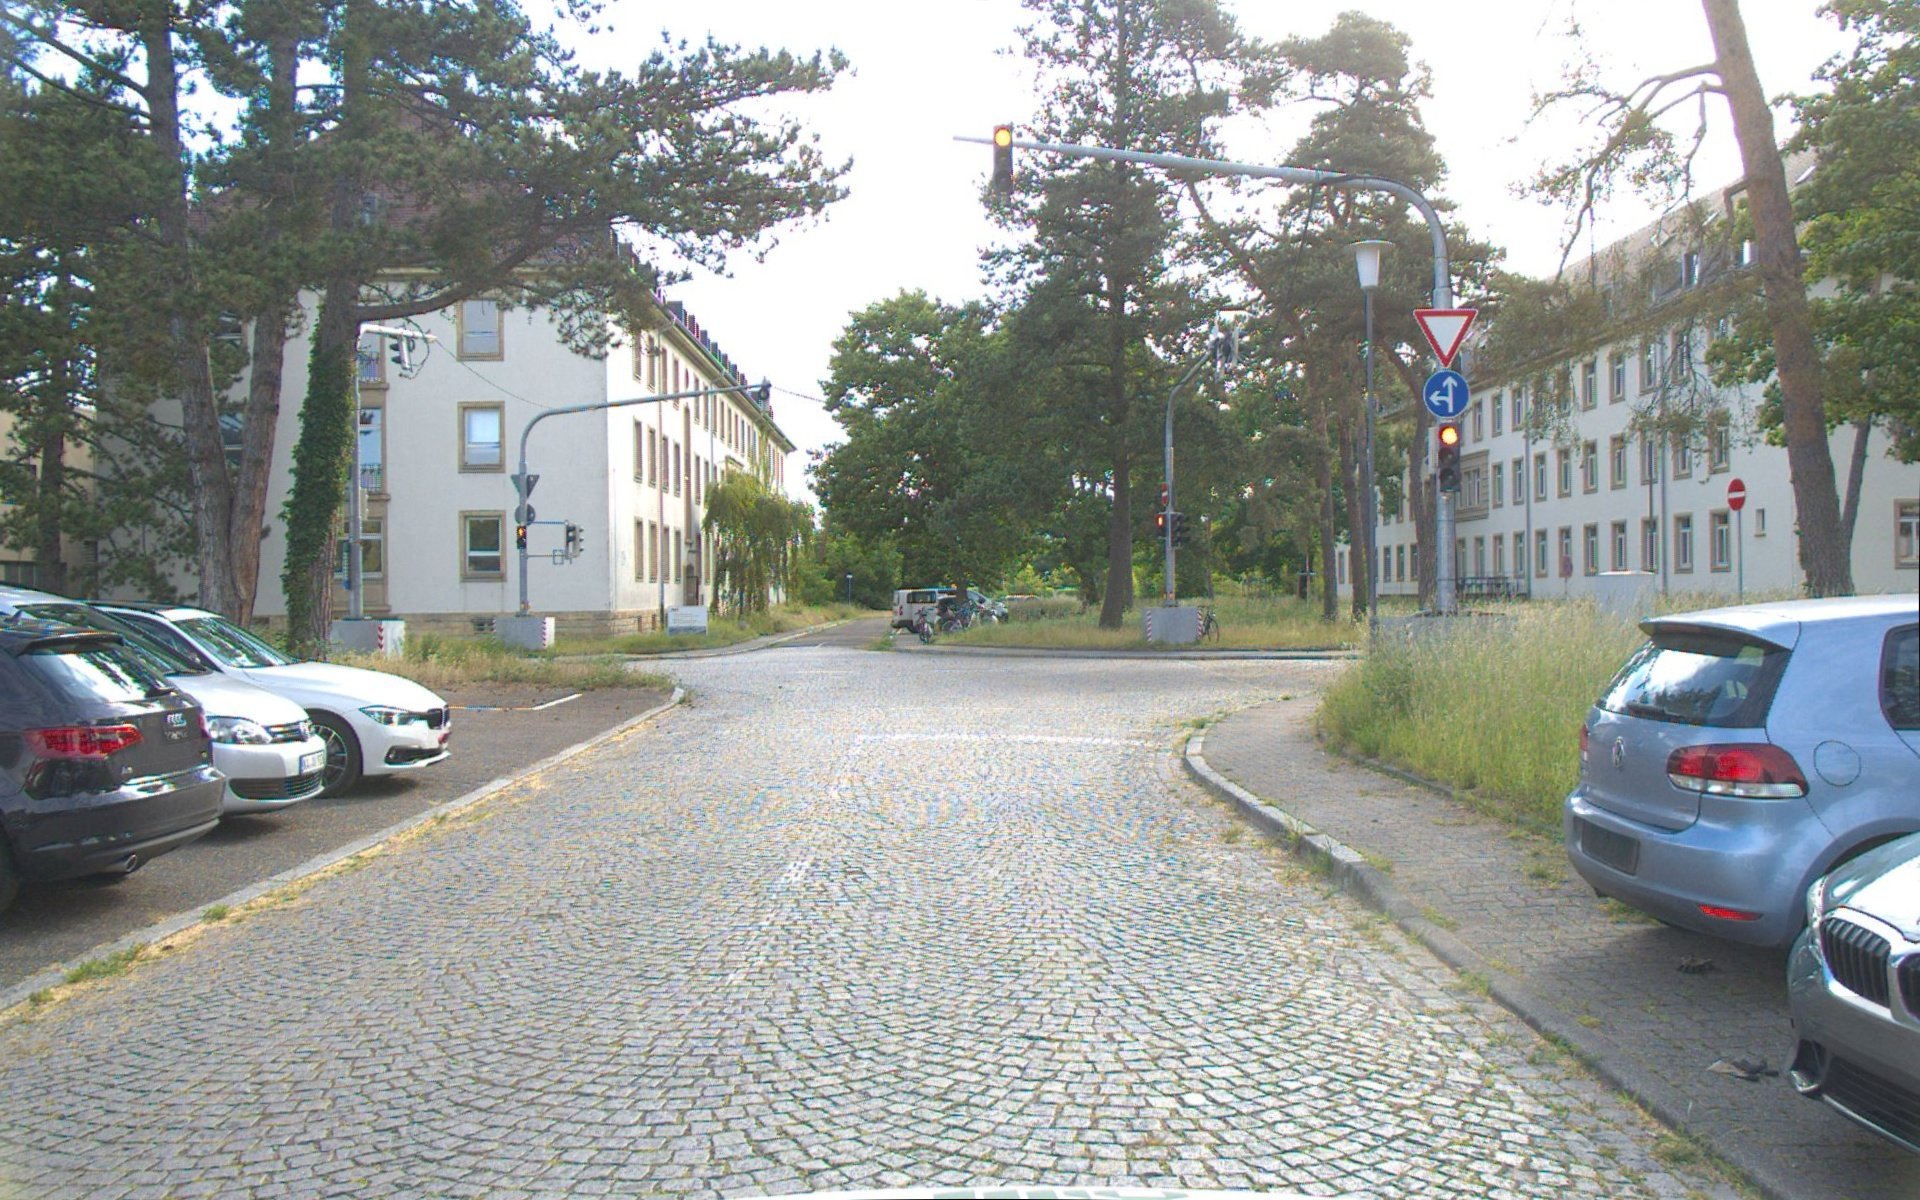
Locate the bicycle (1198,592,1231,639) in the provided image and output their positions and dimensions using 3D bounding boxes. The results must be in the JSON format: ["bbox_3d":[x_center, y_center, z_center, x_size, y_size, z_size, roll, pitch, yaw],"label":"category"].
[{"bbox_3d":[6.758,0.405,43.993,0.708,1.189,2.738,1,0,5],"label":"bicycle"}]

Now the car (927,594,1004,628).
[{"bbox_3d":[0.206,0.468,70.057,3.078,1.378,1.618,-1,0,-7],"label":"car"}]

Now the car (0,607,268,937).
[{"bbox_3d":[-5.710,0.741,8.244,3.758,1.433,1.695,2,0,-2],"label":"car"}]

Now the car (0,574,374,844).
[{"bbox_3d":[-6.127,0.655,11.083,3.755,1.635,1.734,2,0,-4],"label":"car"}]

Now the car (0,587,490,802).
[{"bbox_3d":[-6.318,0.720,13.549,4.390,1.467,1.828,3,0,-5],"label":"car"}]

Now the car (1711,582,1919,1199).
[{"bbox_3d":[4.461,0.679,4.080,4.423,1.509,1.806,-1,0,-4],"label":"car"}]

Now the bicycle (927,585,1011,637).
[{"bbox_3d":[0.303,0.383,56.860,2.724,1.724,1.118,-1,0,-9],"label":"bicycle"}]

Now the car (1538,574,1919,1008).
[{"bbox_3d":[4.520,0.631,6.690,3.765,1.496,1.641,-1,0,-2],"label":"car"}]

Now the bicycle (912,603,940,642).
[{"bbox_3d":[-1.046,0.681,51.358,0.711,1.127,2.462,-5,0,0],"label":"bicycle"}]

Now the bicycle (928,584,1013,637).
[{"bbox_3d":[0.347,0.357,55.666,2.722,1.724,1.118,-1,0,-7],"label":"bicycle"}]

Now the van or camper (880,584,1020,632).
[{"bbox_3d":[-0.470,0.348,73.621,5.931,1.983,1.992,-1,0,-15],"label":"van or camper"}]

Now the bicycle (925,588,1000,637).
[{"bbox_3d":[0.088,0.459,61.759,2.718,1.724,1.120,1,0,0],"label":"bicycle"}]
